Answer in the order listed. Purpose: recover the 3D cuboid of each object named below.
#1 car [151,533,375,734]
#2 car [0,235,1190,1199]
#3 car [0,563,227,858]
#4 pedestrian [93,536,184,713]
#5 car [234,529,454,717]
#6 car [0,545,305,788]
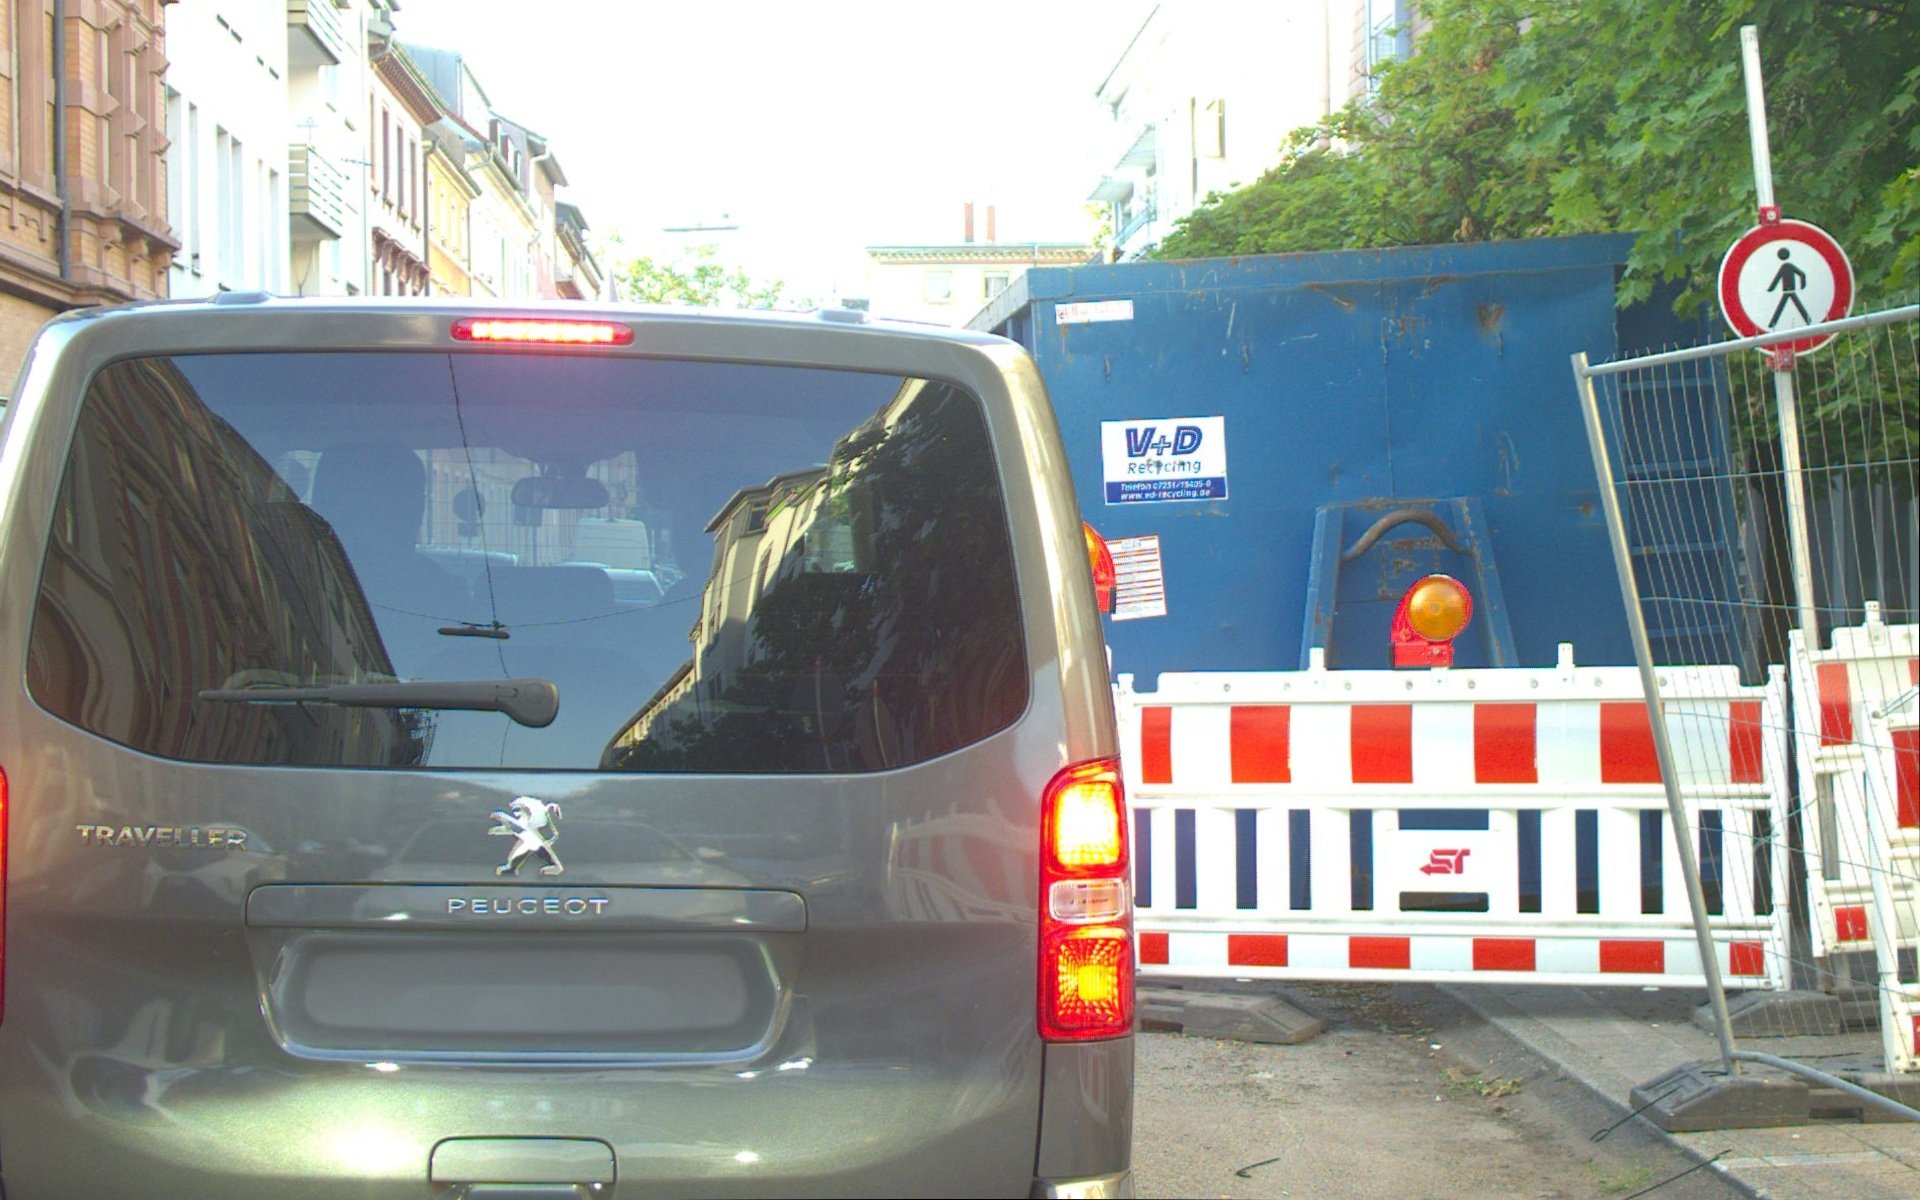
[{"bbox_3d":[-6.398,0.293,31.818,1.666,1.660,3.092,4,0,-7],"label":"car"},{"bbox_3d":[-0.856,0.452,6.695,1.865,1.880,4.236,0,0,-7],"label":"car"},{"bbox_3d":[-5.202,0.544,19.428,1.655,1.455,3.418,4,0,-7],"label":"car"},{"bbox_3d":[-7.805,0.225,32.691,0.739,1.659,0.704,-1,1,-7],"label":"pedestrian"},{"bbox_3d":[-6.294,0.222,35.463,1.891,1.714,3.755,4,0,-7],"label":"car"},{"bbox_3d":[-5.736,0.443,24.736,1.655,1.520,3.418,4,0,-7],"label":"car"}]
